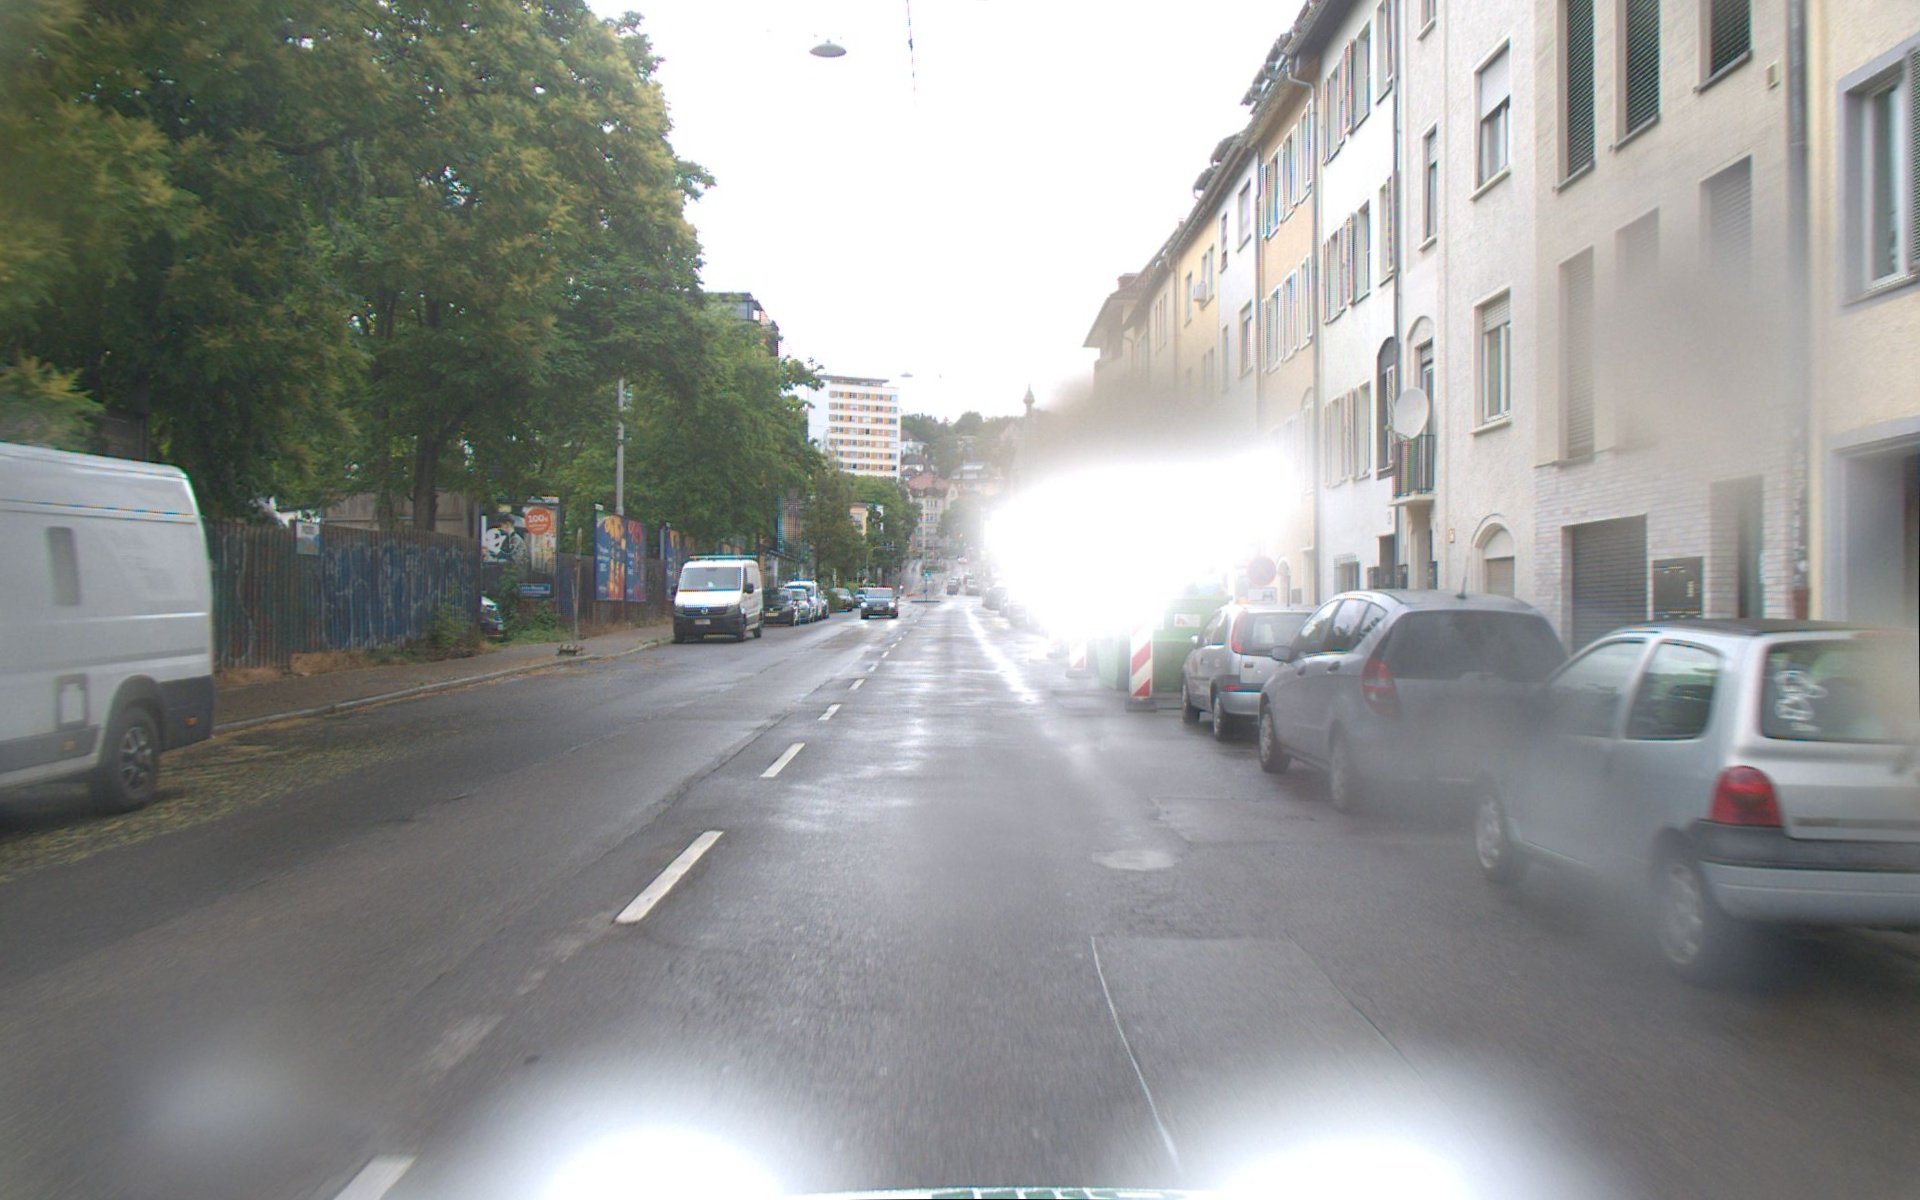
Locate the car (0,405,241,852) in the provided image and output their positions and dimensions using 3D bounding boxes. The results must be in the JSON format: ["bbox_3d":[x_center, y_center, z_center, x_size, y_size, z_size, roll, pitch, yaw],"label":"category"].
[{"bbox_3d":[-6.740,0.189,9.760,2.185,2.623,6.536,-2,1,-1],"label":"car"}]

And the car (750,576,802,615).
[{"bbox_3d":[-7.101,-0.184,64.033,1.648,1.423,3.909,-1,0,-1],"label":"car"}]

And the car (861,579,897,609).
[{"bbox_3d":[-4.001,-0.313,82.081,1.769,1.440,4.382,0,1,-2],"label":"car"}]

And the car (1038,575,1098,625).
[{"bbox_3d":[3.401,-0.024,52.724,1.629,1.526,4.097,0,1,-1],"label":"car"}]

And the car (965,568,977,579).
[{"bbox_3d":[1.653,-3.964,249.215,1.696,1.682,4.002,-1,1,2],"label":"car"}]

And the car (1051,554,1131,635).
[{"bbox_3d":[3.312,-0.170,42.478,1.780,1.957,4.240,0,1,1],"label":"car"}]

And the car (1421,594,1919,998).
[{"bbox_3d":[3.636,0.759,8.254,1.527,1.479,3.759,1,1,-1],"label":"car"}]

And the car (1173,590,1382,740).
[{"bbox_3d":[3.469,0.651,18.716,1.593,1.435,3.842,1,1,0],"label":"car"}]

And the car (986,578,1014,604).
[{"bbox_3d":[2.754,-0.651,114.533,1.780,1.681,4.075,1,1,-1],"label":"car"}]

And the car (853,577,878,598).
[{"bbox_3d":[-6.866,-0.875,120.495,1.675,1.476,4.293,-1,0,-1],"label":"car"}]

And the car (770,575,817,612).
[{"bbox_3d":[-7.092,-0.281,70.667,1.648,1.488,4.276,-1,0,-1],"label":"car"}]

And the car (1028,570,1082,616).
[{"bbox_3d":[3.346,-0.266,58.776,1.629,1.600,4.097,0,1,-1],"label":"car"}]

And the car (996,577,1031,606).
[{"bbox_3d":[2.852,-0.442,88.951,1.630,1.528,3.920,0,0,-2],"label":"car"}]

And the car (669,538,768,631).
[{"bbox_3d":[-7.019,-0.471,48.624,1.970,2.530,5.984,-1,1,0],"label":"car"}]

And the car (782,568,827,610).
[{"bbox_3d":[-7.063,-0.502,75.381,1.688,1.831,4.343,-1,0,-1],"label":"car"}]

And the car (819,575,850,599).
[{"bbox_3d":[-7.914,-0.823,104.685,1.767,1.476,4.655,-1,0,-3],"label":"car"}]

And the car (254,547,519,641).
[{"bbox_3d":[-13.310,-0.163,38.662,5.389,2.044,2.145,-1,1,-3],"label":"car"}]

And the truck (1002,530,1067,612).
[{"bbox_3d":[3.025,-1.172,68.844,2.419,3.227,7.036,0,0,0],"label":"truck"}]

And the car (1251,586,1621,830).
[{"bbox_3d":[3.543,0.708,13.080,1.681,1.551,4.000,1,1,-1],"label":"car"}]
